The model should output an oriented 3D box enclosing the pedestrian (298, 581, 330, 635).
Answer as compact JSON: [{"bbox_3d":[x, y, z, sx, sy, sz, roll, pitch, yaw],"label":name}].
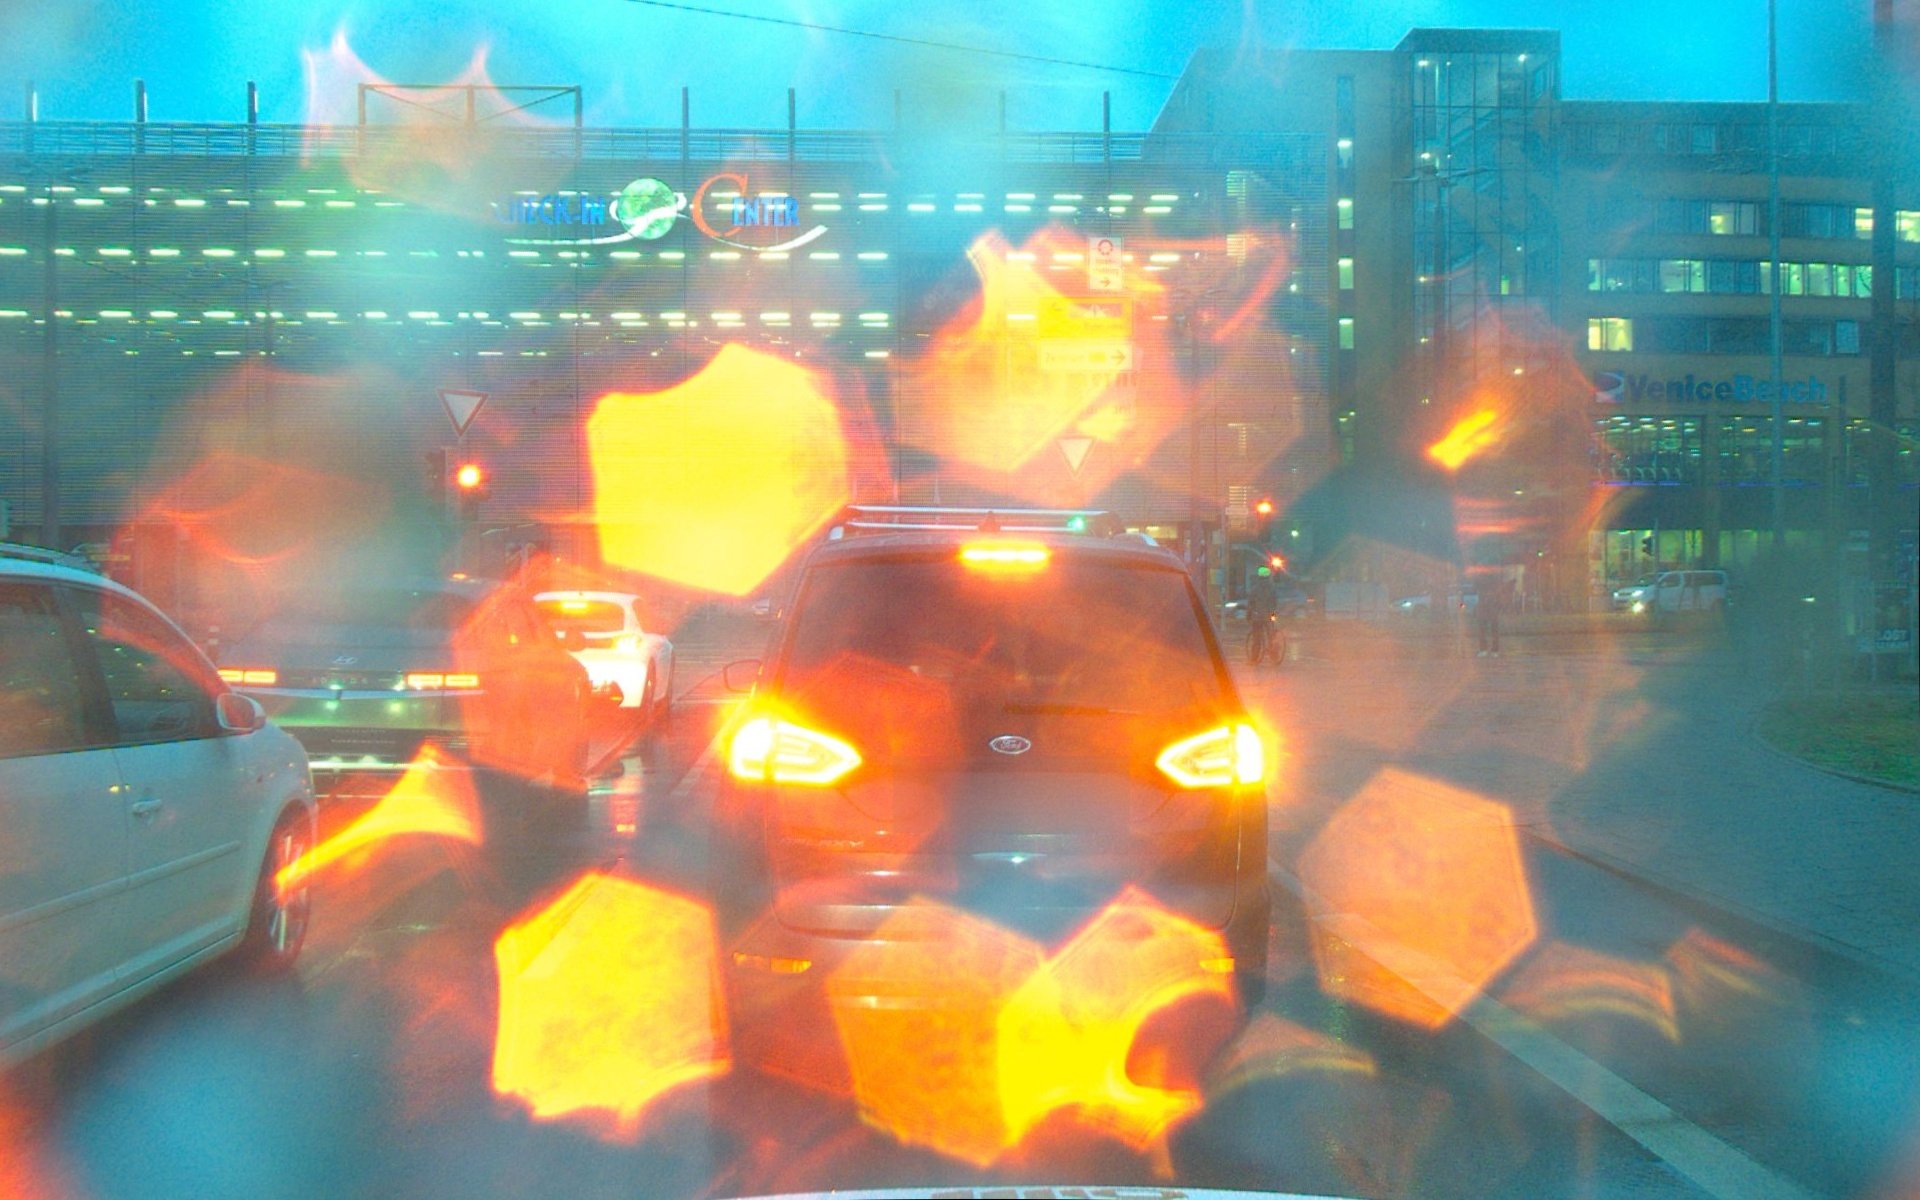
[{"bbox_3d":[-30.304,0.363,77.652,1.087,2.482,0.966,1,-1,-2],"label":"pedestrian"}]

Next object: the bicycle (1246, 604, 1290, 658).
[{"bbox_3d":[5.924,0.581,31.894,0.641,0.990,1.867,0,0,5],"label":"bicycle"}]

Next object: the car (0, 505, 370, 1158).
[{"bbox_3d":[-3.273,0.575,5.069,1.638,1.627,4.220,0,0,-4],"label":"car"}]

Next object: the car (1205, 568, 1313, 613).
[{"bbox_3d":[13.060,-0.430,72.324,4.276,1.904,1.902,-1,0,-7],"label":"car"}]

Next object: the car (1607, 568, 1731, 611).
[{"bbox_3d":[29.615,-0.446,69.160,4.553,1.706,1.782,-1,0,-10],"label":"car"}]

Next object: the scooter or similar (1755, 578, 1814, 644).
[{"bbox_3d":[15.435,0.199,30.965,1.290,1.227,0.331,0,0,-30],"label":"scooter or similar"}]

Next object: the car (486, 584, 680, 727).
[{"bbox_3d":[-4.255,0.564,19.194,1.724,1.489,3.912,0,0,-6],"label":"car"}]

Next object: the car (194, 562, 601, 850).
[{"bbox_3d":[-3.636,0.575,11.512,1.786,1.597,4.355,0,0,-7],"label":"car"}]

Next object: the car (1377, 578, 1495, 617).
[{"bbox_3d":[19.400,-0.117,67.518,4.245,1.512,1.863,-1,0,-7],"label":"car"}]

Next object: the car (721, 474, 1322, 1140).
[{"bbox_3d":[0.132,0.552,6.545,1.640,1.810,3.999,0,0,-1],"label":"car"}]

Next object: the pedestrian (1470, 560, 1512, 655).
[{"bbox_3d":[10.751,0.149,33.484,0.757,1.910,0.635,0,0,22],"label":"pedestrian"}]

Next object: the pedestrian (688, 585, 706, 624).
[{"bbox_3d":[-12.319,0.219,77.517,0.772,1.818,0.732,0,0,-6],"label":"pedestrian"}]

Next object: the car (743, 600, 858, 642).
[{"bbox_3d":[-5.686,0.731,59.542,1.612,1.410,4.460,0,0,35],"label":"car"}]

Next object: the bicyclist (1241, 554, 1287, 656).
[{"bbox_3d":[5.849,0.092,31.833,0.774,1.923,0.990,0,0,5],"label":"bicyclist"}]

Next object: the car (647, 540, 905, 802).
[{"bbox_3d":[-1.502,0.473,13.958,1.808,1.837,4.482,0,1,-5],"label":"car"}]

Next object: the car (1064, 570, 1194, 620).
[{"bbox_3d":[6.662,-0.224,65.469,4.852,1.904,1.902,-1,0,-7],"label":"car"}]
